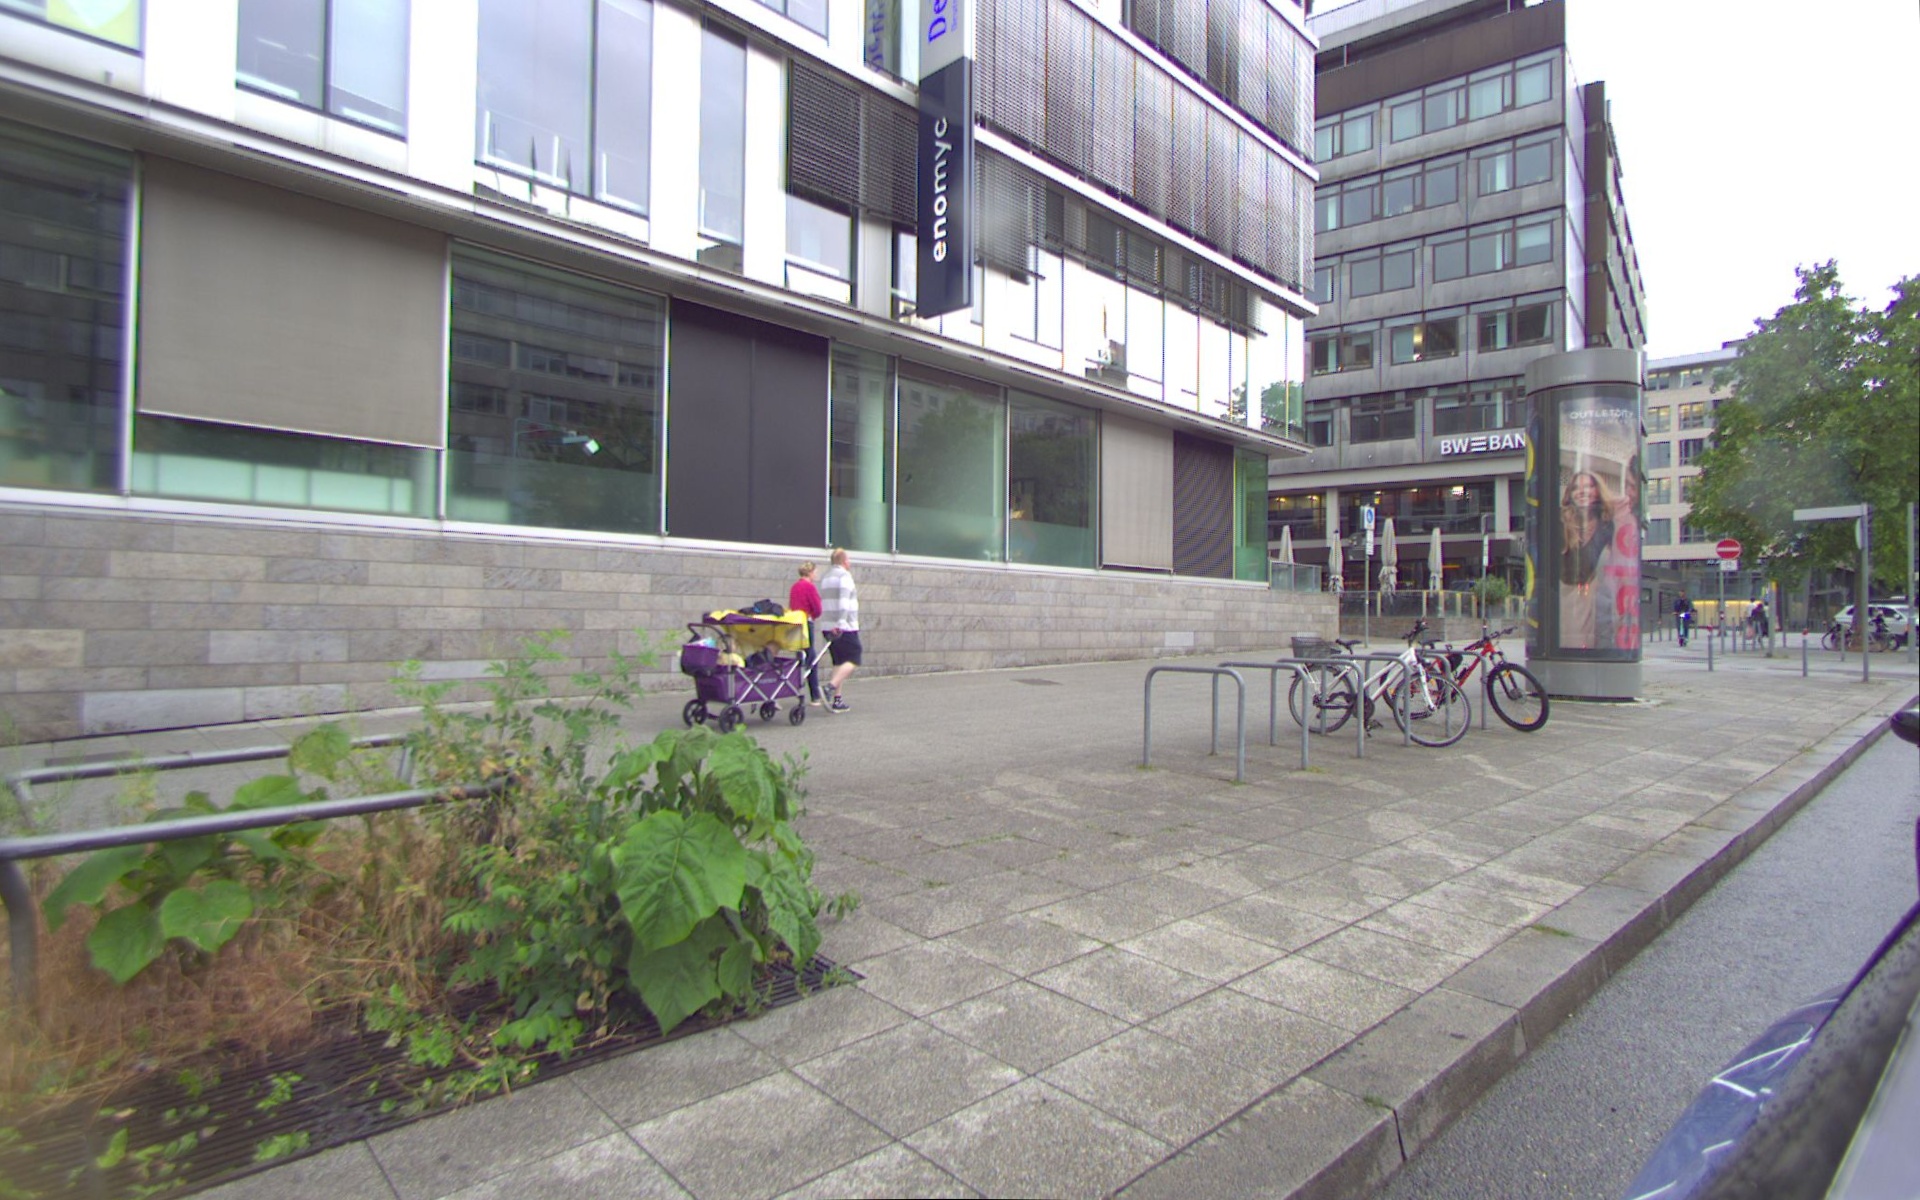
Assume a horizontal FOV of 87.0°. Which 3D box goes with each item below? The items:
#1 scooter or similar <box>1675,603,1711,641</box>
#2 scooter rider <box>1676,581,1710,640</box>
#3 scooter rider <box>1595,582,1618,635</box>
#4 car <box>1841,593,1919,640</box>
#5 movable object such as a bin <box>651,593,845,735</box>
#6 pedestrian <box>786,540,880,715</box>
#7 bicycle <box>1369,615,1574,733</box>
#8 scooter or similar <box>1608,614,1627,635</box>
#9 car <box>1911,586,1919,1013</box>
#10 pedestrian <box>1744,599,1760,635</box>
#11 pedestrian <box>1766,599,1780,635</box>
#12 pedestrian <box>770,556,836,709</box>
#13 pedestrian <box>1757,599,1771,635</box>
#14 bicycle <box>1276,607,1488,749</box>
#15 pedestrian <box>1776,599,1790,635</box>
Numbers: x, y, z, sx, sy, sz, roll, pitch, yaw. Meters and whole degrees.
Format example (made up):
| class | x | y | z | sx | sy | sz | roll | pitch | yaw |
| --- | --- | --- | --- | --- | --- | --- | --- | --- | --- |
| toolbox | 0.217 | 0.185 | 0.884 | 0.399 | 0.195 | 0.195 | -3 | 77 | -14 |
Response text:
| class | x | y | z | sx | sy | sz | roll | pitch | yaw |
| --- | --- | --- | --- | --- | --- | --- | --- | --- | --- |
| scooter or similar | 26.000 | 0.757 | 35.893 | 1.311 | 1.322 | 0.779 | 0 | -1 | -41 |
| scooter rider | 25.973 | 0.361 | 35.864 | 0.908 | 2.047 | 0.779 | 0 | -1 | -41 |
| scooter rider | 25.515 | 0.322 | 39.924 | 0.626 | 2.051 | 0.841 | -1 | -1 | 44 |
| car | 38.832 | 0.657 | 41.091 | 1.959 | 1.836 | 4.218 | -1 | -2 | -10 |
| movable object such as a bin | -2.088 | 0.577 | 10.134 | 0.802 | 1.281 | 1.760 | 1 | 1 | 44 |
| pedestrian | -1.403 | 0.279 | 11.222 | 0.722 | 1.853 | 0.735 | 1 | 1 | 44 |
| bicycle | 5.503 | 0.749 | 10.975 | 0.658 | 1.124 | 1.873 | 1 | 0 | -43 |
| scooter or similar | 25.819 | 0.964 | 39.718 | 0.407 | 0.782 | 1.256 | 0 | 0 | 43 |
| car | 5.270 | 0.703 | 4.274 | 3.647 | 1.529 | 1.592 | 0 | -1 | -43 |
| pedestrian | 39.053 | 0.834 | 49.916 | 0.538 | 1.723 | 0.551 | 0 | 0 | -43 |
| pedestrian | 39.567 | 0.838 | 49.255 | 0.488 | 1.723 | 0.451 | 0 | 0 | -43 |
| pedestrian | -1.825 | 0.355 | 11.767 | 0.484 | 1.720 | 0.570 | 1 | 1 | 44 |
| pedestrian | 39.395 | 0.836 | 49.590 | 0.538 | 1.723 | 0.451 | 0 | 0 | -43 |
| bicycle | 4.064 | 0.698 | 9.830 | 1.789 | 1.222 | 0.660 | 1 | 0 | 40 |
| pedestrian | 39.864 | 0.839 | 49.018 | 0.488 | 1.723 | 0.451 | 0 | 0 | -43 |
